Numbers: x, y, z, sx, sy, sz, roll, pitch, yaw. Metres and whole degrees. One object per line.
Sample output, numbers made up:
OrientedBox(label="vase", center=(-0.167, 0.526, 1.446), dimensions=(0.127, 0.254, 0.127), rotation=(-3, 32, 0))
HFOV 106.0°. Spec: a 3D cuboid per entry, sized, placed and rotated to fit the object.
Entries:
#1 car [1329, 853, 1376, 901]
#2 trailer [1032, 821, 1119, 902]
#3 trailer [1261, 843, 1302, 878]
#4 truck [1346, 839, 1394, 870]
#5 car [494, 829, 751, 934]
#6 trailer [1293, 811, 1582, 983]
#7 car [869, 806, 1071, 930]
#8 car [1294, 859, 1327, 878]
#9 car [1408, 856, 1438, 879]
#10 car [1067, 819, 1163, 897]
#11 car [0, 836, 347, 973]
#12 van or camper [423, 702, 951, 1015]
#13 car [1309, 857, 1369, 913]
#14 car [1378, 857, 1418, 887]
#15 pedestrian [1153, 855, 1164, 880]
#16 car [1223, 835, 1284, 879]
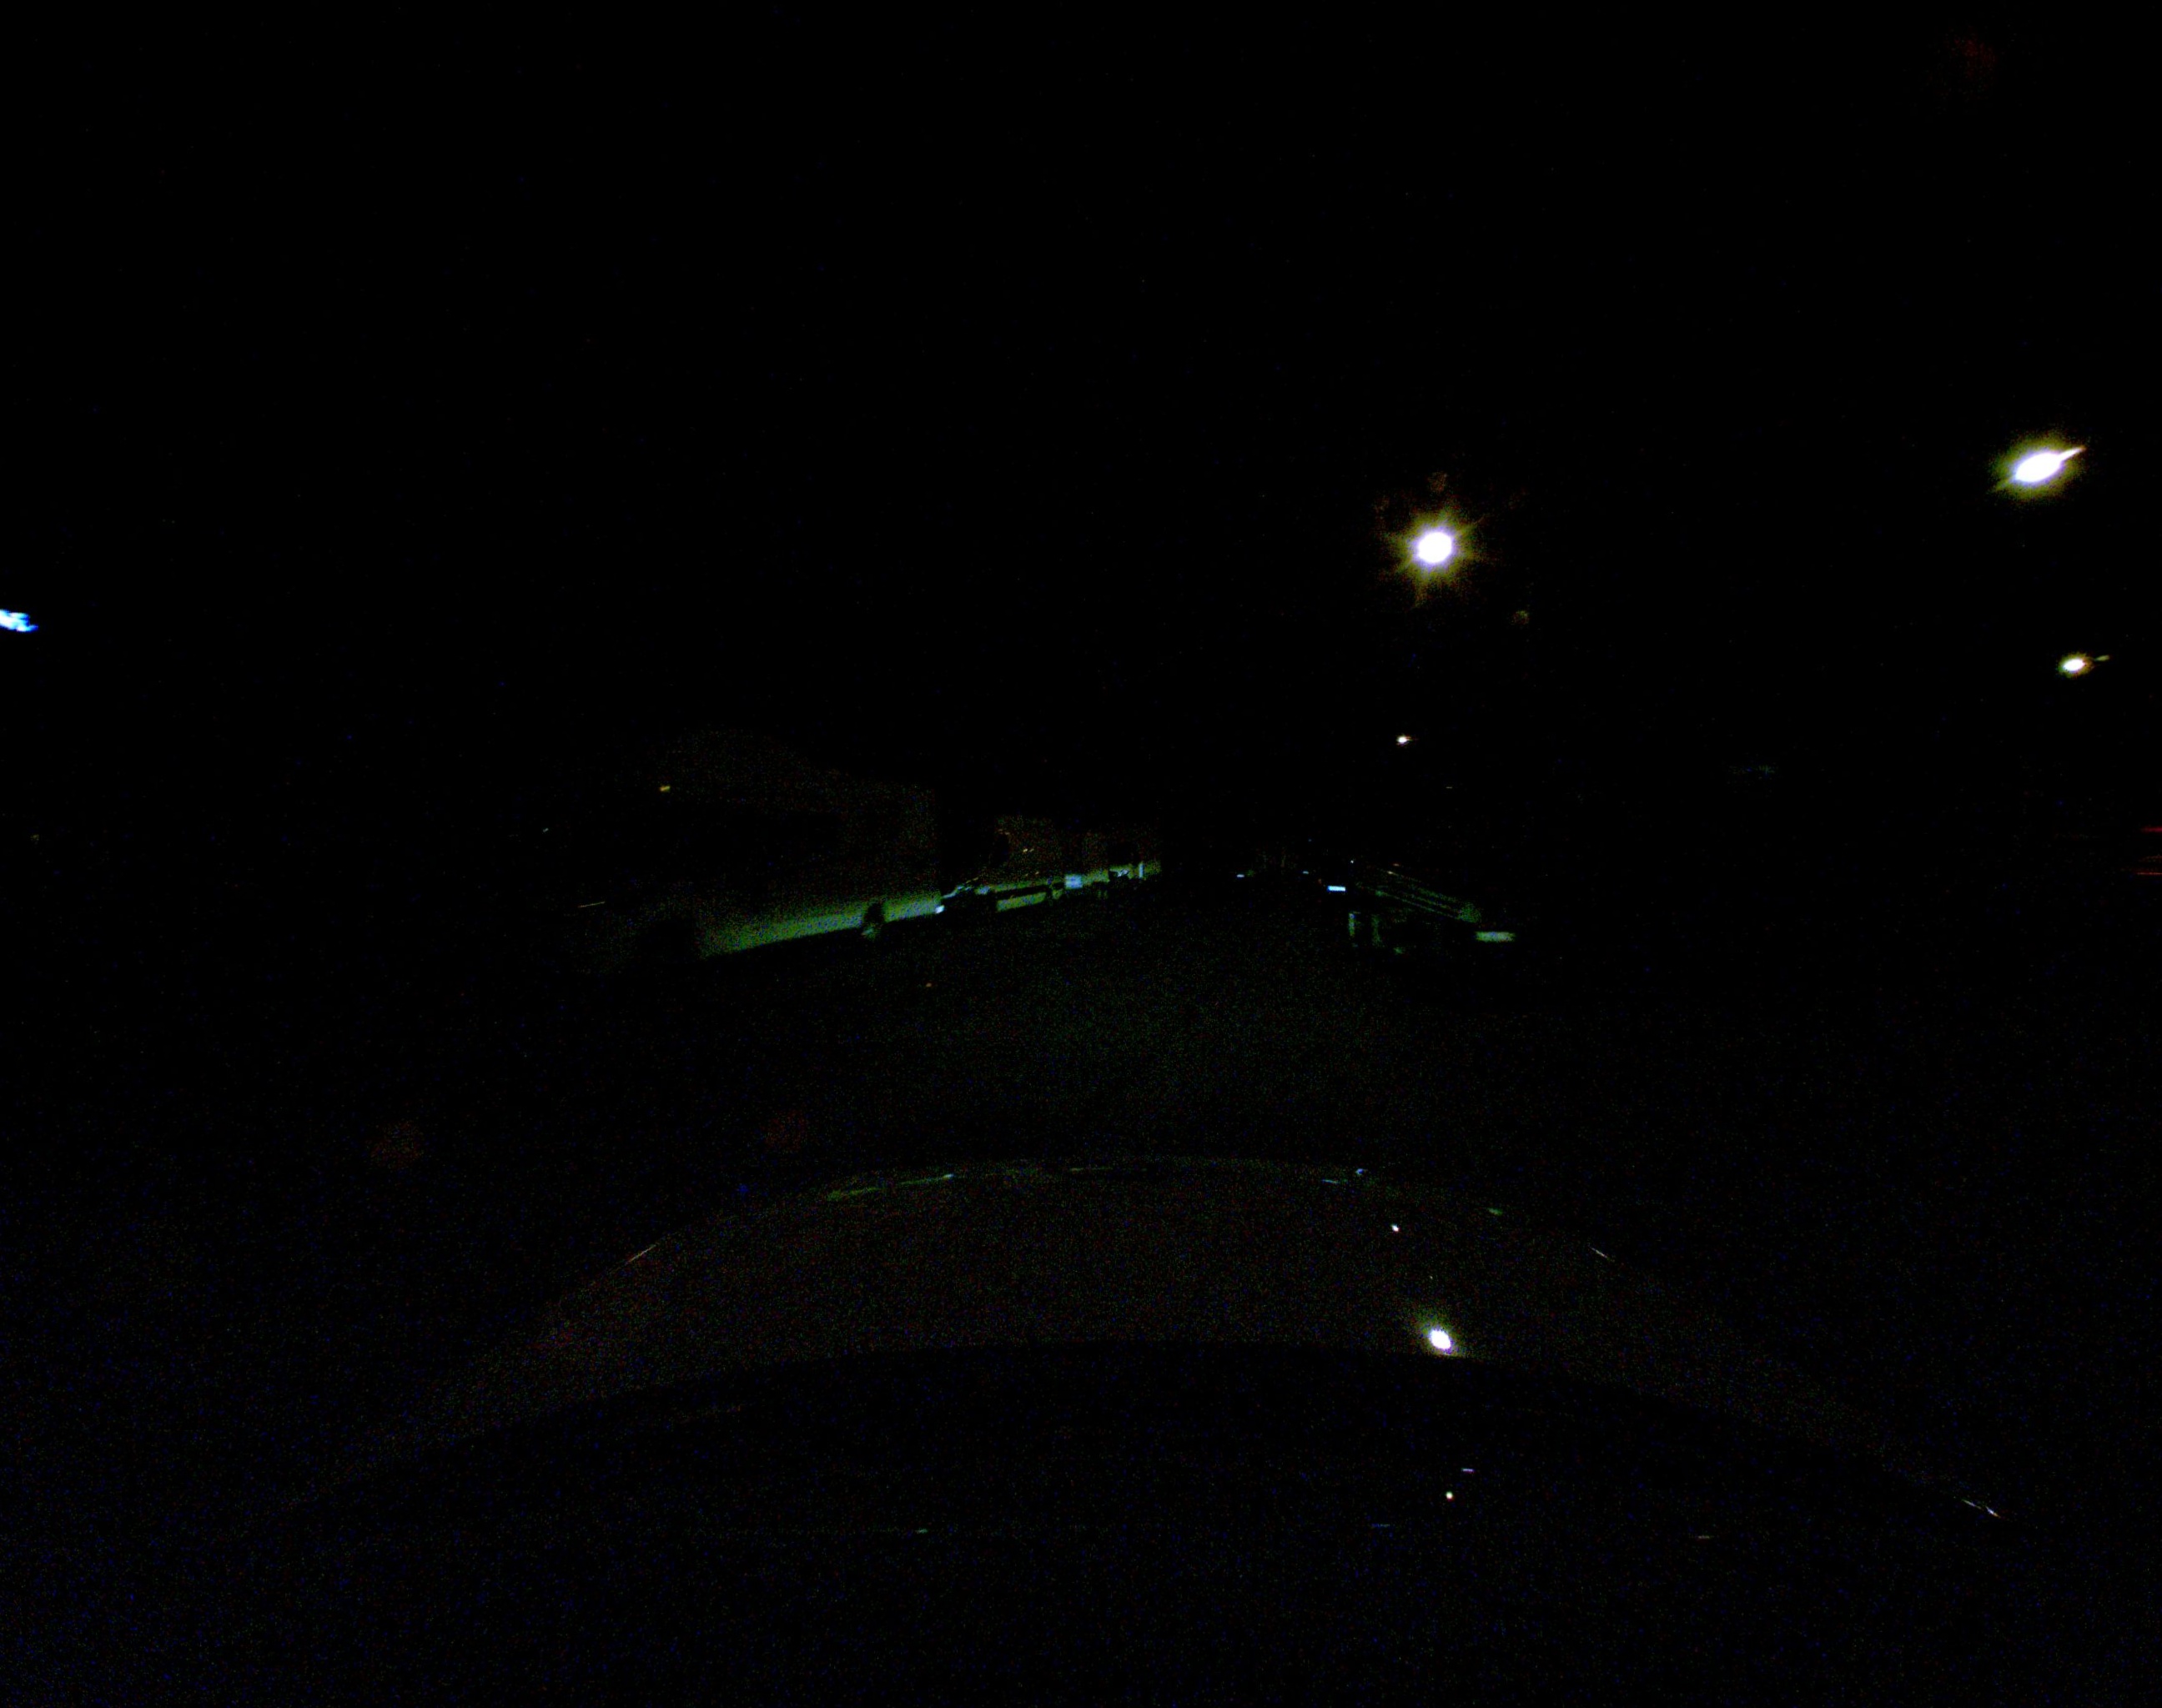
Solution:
OrientedBox(label="car", center=(11.412, 0.912, 34.452), dimensions=(1.707, 1.821, 4.018), rotation=(3, 0, 17))
OrientedBox(label="trailer", center=(-0.110, 0.217, 27.648), dimensions=(1.978, 2.527, 3.583), rotation=(0, 1, 16))
OrientedBox(label="trailer", center=(16.857, 0.512, 68.464), dimensions=(1.974, 2.813, 4.732), rotation=(2, 1, 31))
OrientedBox(label="truck", center=(33.473, 0.005, 94.118), dimensions=(1.975, 3.403, 9.035), rotation=(3, 2, 40))
OrientedBox(label="car", center=(-14.085, 0.726, 25.556), dimensions=(1.975, 2.841, 6.721), rotation=(3, 2, 41))
OrientedBox(label="trailer", center=(5.243, 0.532, 12.944), dimensions=(1.560, 2.160, 5.202), rotation=(0, 0, -11))
OrientedBox(label="car", center=(-2.447, 0.262, 20.778), dimensions=(2.500, 2.606, 7.120), rotation=(0, 0, 15))
OrientedBox(label="car", center=(22.163, 1.405, 78.448), dimensions=(1.975, 1.699, 4.232), rotation=(2, 0, 31))
OrientedBox(label="car", center=(29.363, 1.173, 69.858), dimensions=(1.704, 1.821, 4.025), rotation=(3, 0, 32))
OrientedBox(label="car", center=(1.601, 0.121, 34.253), dimensions=(2.500, 2.927, 7.230), rotation=(0, 0, 15))
OrientedBox(label="car", center=(-20.297, 0.946, 17.348), dimensions=(1.975, 2.554, 6.721), rotation=(4, 2, 41))
OrientedBox(label="van or camper", center=(-4.759, 0.014, 11.983), dimensions=(2.499, 3.094, 7.479), rotation=(0, 0, 18))
OrientedBox(label="car", center=(8.655, 0.974, 27.414), dimensions=(1.707, 1.661, 4.018), rotation=(3, 0, 17))
OrientedBox(label="car", center=(20.845, 1.150, 53.483), dimensions=(1.704, 1.821, 4.025), rotation=(3, 0, 32))
OrientedBox(label="pedestrian", center=(5.412, 0.940, 56.997), dimensions=(0.673, 1.652, 0.653), rotation=(1, 2, -2))
OrientedBox(label="car", center=(13.435, 0.189, 62.913), dimensions=(2.495, 3.171, 7.182), rotation=(0, 0, 30))
